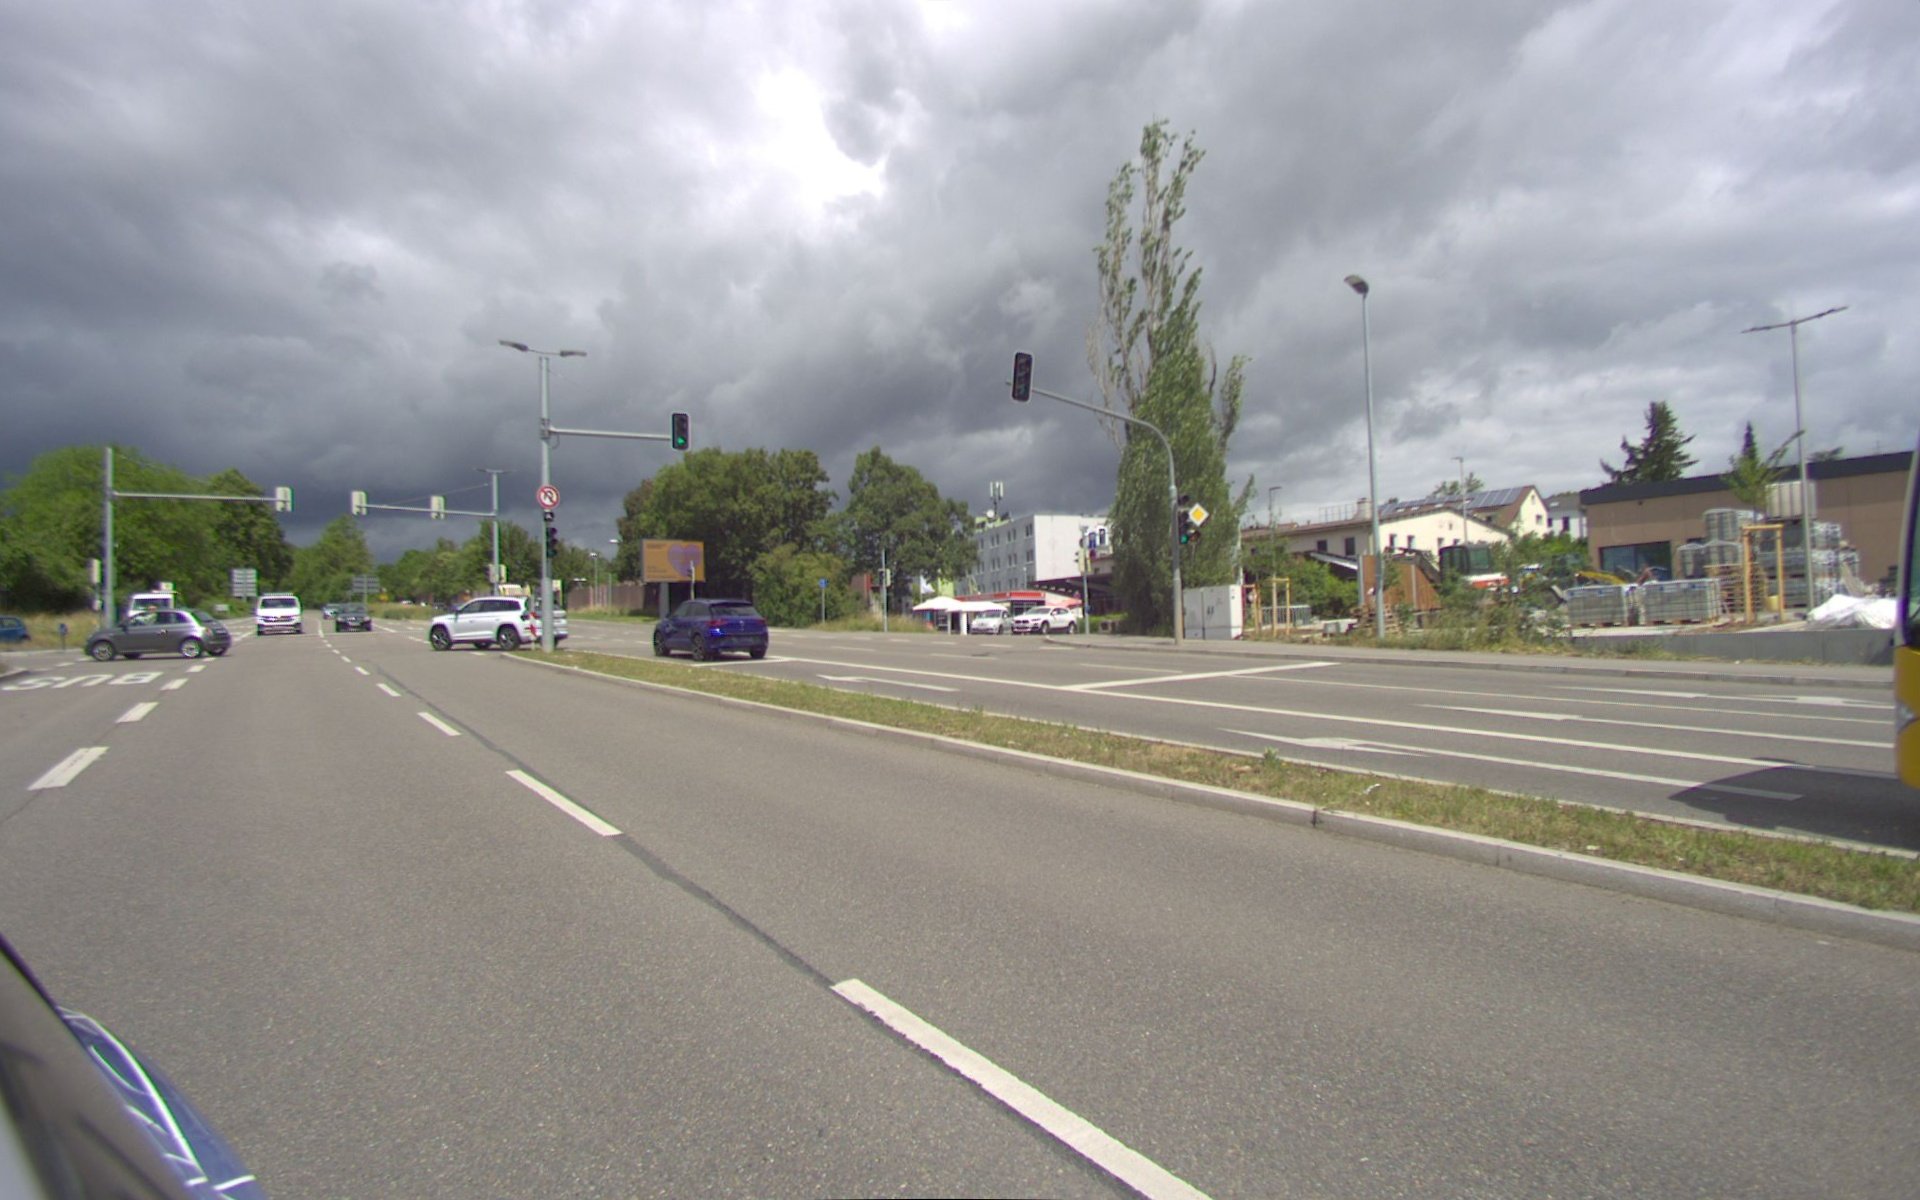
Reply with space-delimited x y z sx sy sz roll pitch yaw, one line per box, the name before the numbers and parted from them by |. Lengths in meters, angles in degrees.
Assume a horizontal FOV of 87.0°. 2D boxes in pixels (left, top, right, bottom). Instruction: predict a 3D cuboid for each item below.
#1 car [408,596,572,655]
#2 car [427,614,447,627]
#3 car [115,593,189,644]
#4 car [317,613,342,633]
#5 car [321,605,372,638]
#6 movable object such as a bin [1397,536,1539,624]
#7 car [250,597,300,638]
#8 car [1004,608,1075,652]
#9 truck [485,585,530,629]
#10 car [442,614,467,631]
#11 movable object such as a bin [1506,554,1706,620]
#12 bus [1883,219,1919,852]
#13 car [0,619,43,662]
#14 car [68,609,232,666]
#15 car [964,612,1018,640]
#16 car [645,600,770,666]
car | -14.512 0.801 31.200 4.867 1.671 1.721 -2 -1 22
car | -61.330 2.402 118.609 1.668 1.411 4.011 -1 -1 -33
car | -45.643 1.023 57.307 2.128 2.670 5.844 -1 0 -27
car | -60.911 2.224 97.797 1.966 1.587 4.011 -1 -5 -32
car | -32.701 1.128 53.885 1.879 1.648 4.983 -1 0 -36
movable object such as a bin | 15.595 -0.570 31.252 2.116 2.557 3.424 -1 -1 -15
car | -34.658 0.860 51.152 1.879 1.952 4.983 -1 0 -36
car | 4.104 1.533 51.731 1.993 2.029 3.957 -6 -5 31
truck | -43.248 0.704 96.605 2.799 3.606 6.985 -1 -5 -34
car | -49.986 2.211 100.018 1.668 1.411 4.010 -1 -4 -34
movable object such as a bin | 26.754 -0.469 42.348 2.256 2.029 6.966 -2 -4 -20
bus | 8.822 -0.415 1.835 2.777 3.310 10.149 -1 0 -32
car | -39.020 1.659 40.029 1.881 1.649 4.456 -1 0 -8
car | -24.080 1.119 30.201 3.466 1.472 1.589 -3 -3 -13
car | 1.729 1.385 54.578 1.685 1.411 3.972 -1 -1 21
car | -6.676 0.841 26.429 1.780 1.522 4.410 -1 -1 -33
